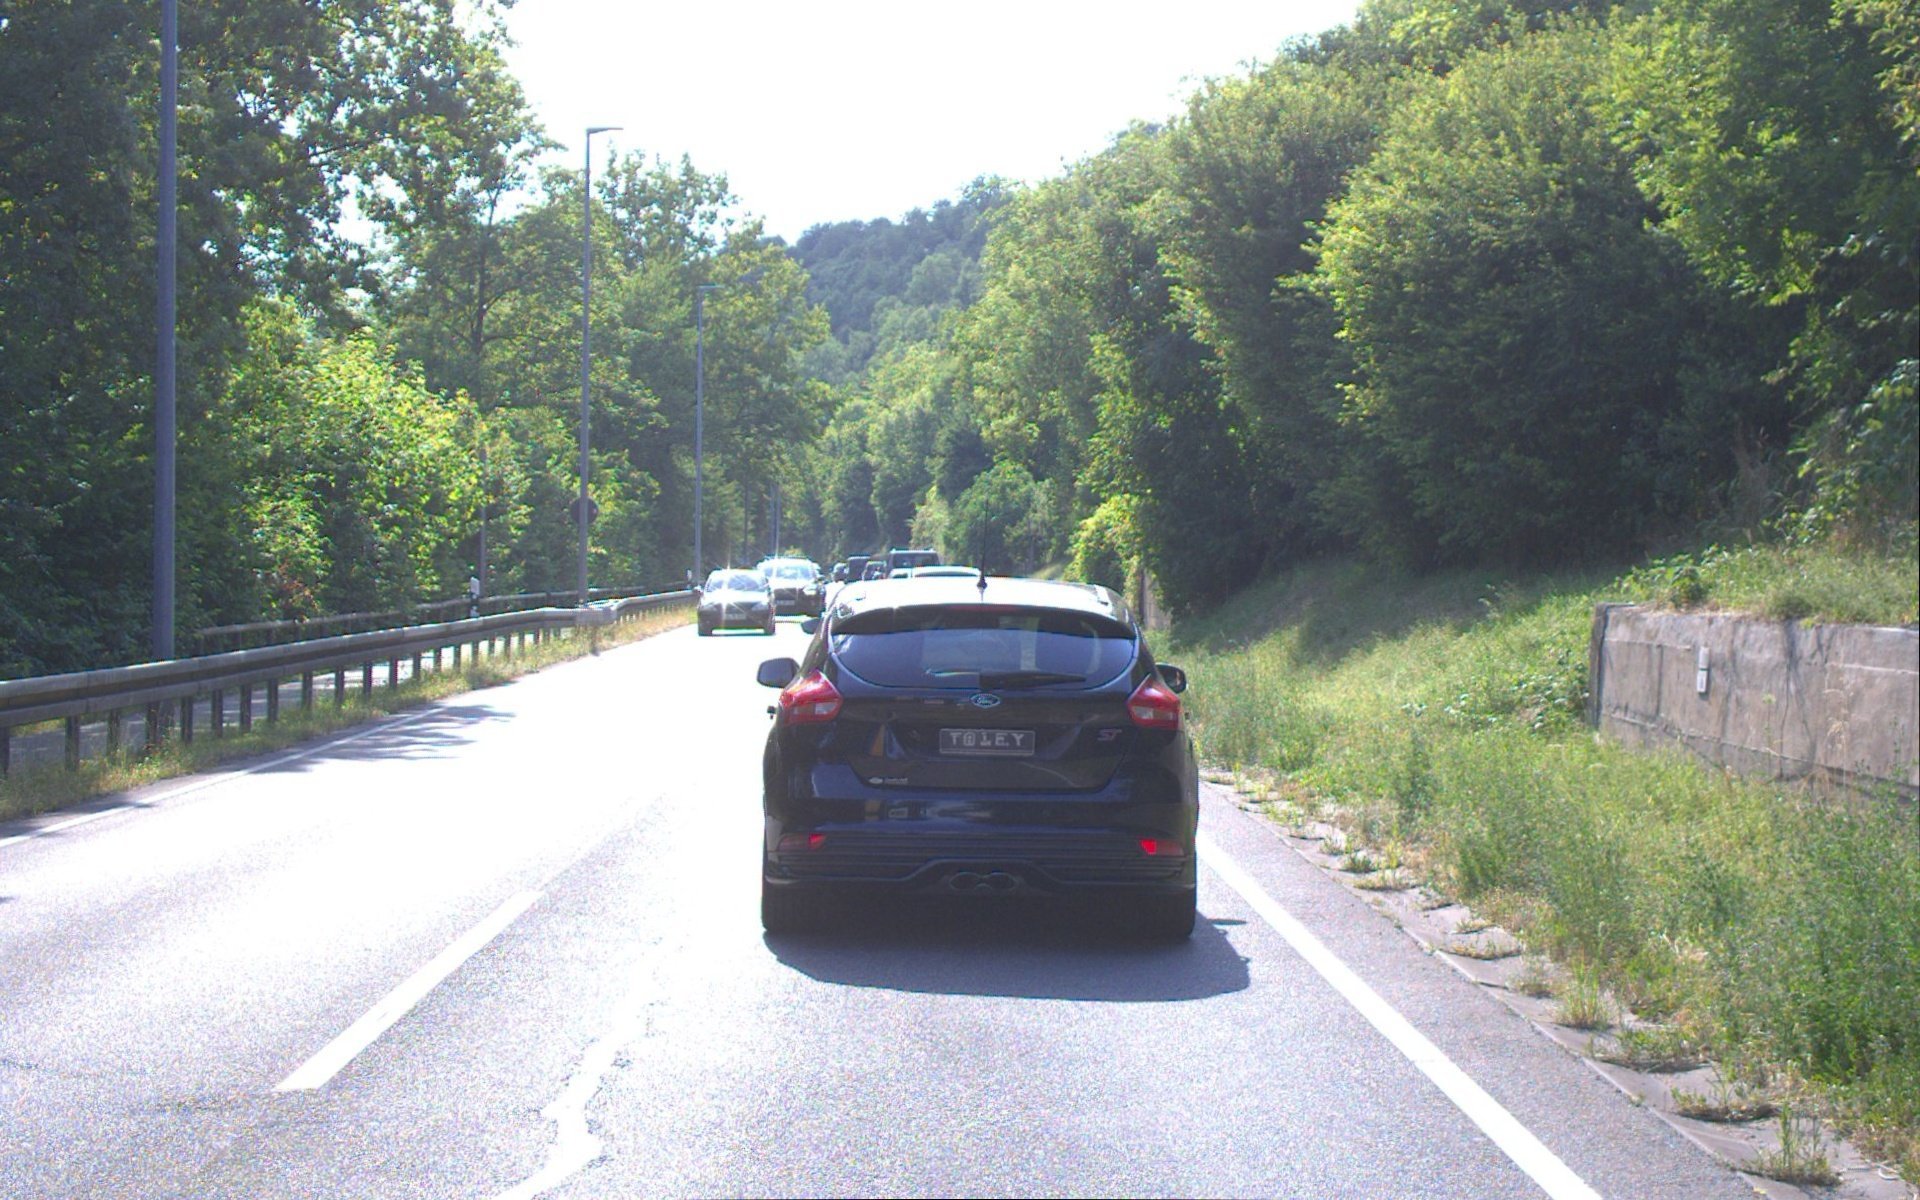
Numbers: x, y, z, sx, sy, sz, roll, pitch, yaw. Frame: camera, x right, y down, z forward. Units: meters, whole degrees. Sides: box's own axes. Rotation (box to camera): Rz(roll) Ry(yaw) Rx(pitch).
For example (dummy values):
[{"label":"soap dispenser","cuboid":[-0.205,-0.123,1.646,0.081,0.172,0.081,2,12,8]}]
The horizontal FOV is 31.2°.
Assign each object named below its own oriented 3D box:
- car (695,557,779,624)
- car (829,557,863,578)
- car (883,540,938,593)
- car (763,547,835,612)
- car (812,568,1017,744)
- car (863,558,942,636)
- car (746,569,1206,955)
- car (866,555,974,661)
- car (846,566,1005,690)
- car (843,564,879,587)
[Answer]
[{"label":"car","cuboid":[-4.989,-0.226,77.317,1.681,1.437,4.000,0,1,-1]},{"label":"car","cuboid":[-8.042,-2.299,243.082,1.993,1.514,4.001,0,1,-8]},{"label":"car","cuboid":[-1.707,-1.146,117.911,1.863,1.774,4.000,0,1,-1]},{"label":"car","cuboid":[-4.348,-0.571,93.215,1.748,1.712,4.221,0,1,0]},{"label":"car","cuboid":[-0.340,0.441,29.996,1.661,1.413,4.000,0,1,1]},{"label":"car","cuboid":[-1.207,-0.085,73.486,1.631,1.590,4.000,0,1,-1]},{"label":"car","cuboid":[0.042,0.602,15.138,1.739,1.451,4.000,1,0,-1]},{"label":"car","cuboid":[-0.620,0.100,53.804,1.631,1.590,4.000,0,1,-1]},{"label":"car","cuboid":[-0.410,0.300,41.088,1.804,1.387,4.000,0,1,-1]},{"label":"car","cuboid":[-6.638,-1.629,230.676,1.993,1.514,4.001,0,1,-8]}]
